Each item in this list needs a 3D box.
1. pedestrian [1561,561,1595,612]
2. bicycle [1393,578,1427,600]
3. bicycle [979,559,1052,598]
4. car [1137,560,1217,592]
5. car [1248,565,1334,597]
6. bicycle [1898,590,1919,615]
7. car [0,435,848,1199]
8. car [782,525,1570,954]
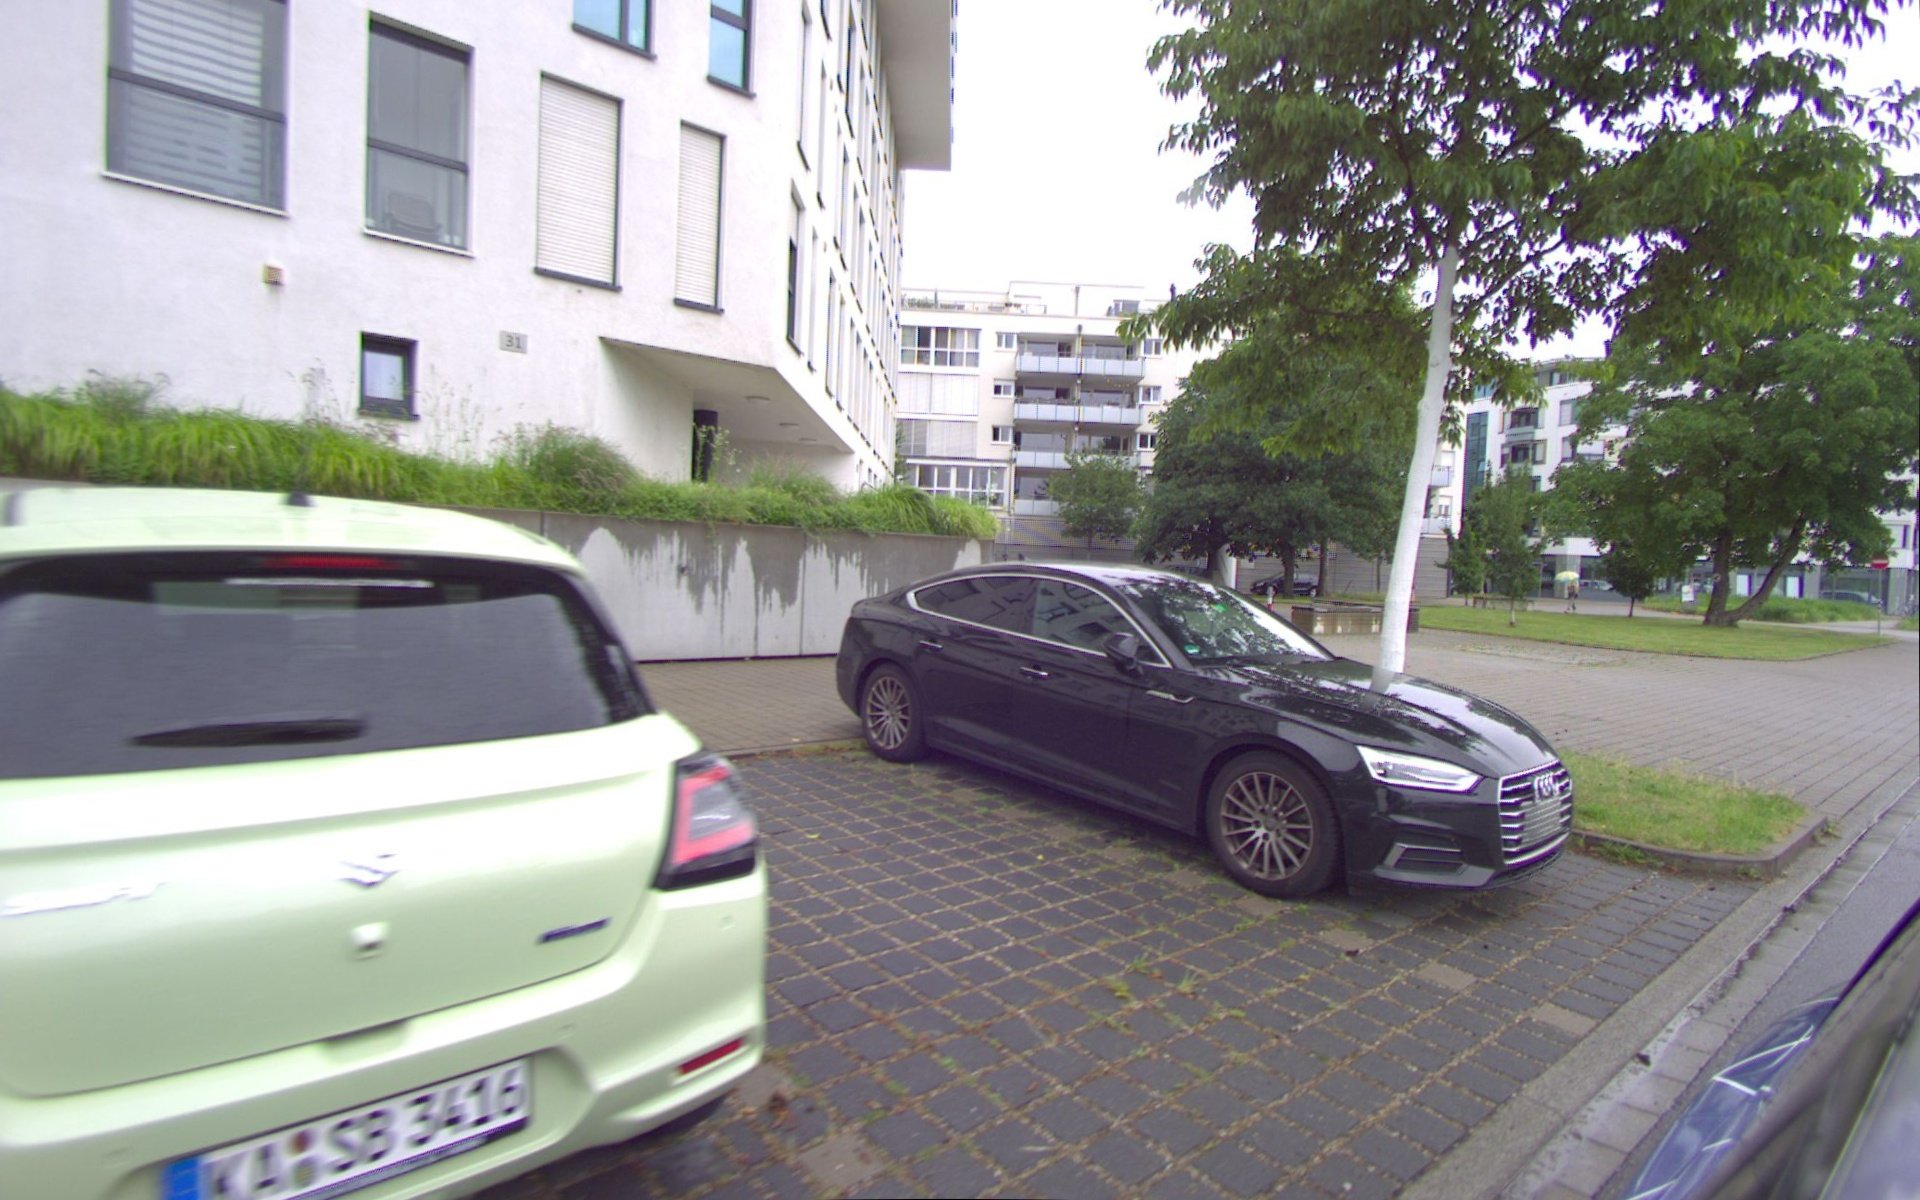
[{"bbox_3d":[25.562,-0.559,41.870,0.611,2.038,0.967,1,2,-40],"label":"pedestrian"},{"bbox_3d":[24.662,-0.619,55.518,0.712,1.101,2.485,2,2,0],"label":"bicycle"},{"bbox_3d":[1.607,-0.635,29.637,2.033,1.046,0.725,2,2,-1],"label":"bicycle"},{"bbox_3d":[11.840,-1.343,55.308,3.923,1.567,1.736,2,2,-1],"label":"car"},{"bbox_3d":[18.081,-1.064,55.407,4.041,1.567,1.736,2,2,-1],"label":"car"},{"bbox_3d":[61.863,0.173,65.043,0.617,1.541,2.201,2,3,-20],"label":"bicycle"},{"bbox_3d":[-2.349,0.320,3.318,1.662,1.498,4.500,0,5,-40],"label":"car"},{"bbox_3d":[0.892,0.432,6.308,1.794,1.514,4.582,0,5,-41],"label":"car"}]
